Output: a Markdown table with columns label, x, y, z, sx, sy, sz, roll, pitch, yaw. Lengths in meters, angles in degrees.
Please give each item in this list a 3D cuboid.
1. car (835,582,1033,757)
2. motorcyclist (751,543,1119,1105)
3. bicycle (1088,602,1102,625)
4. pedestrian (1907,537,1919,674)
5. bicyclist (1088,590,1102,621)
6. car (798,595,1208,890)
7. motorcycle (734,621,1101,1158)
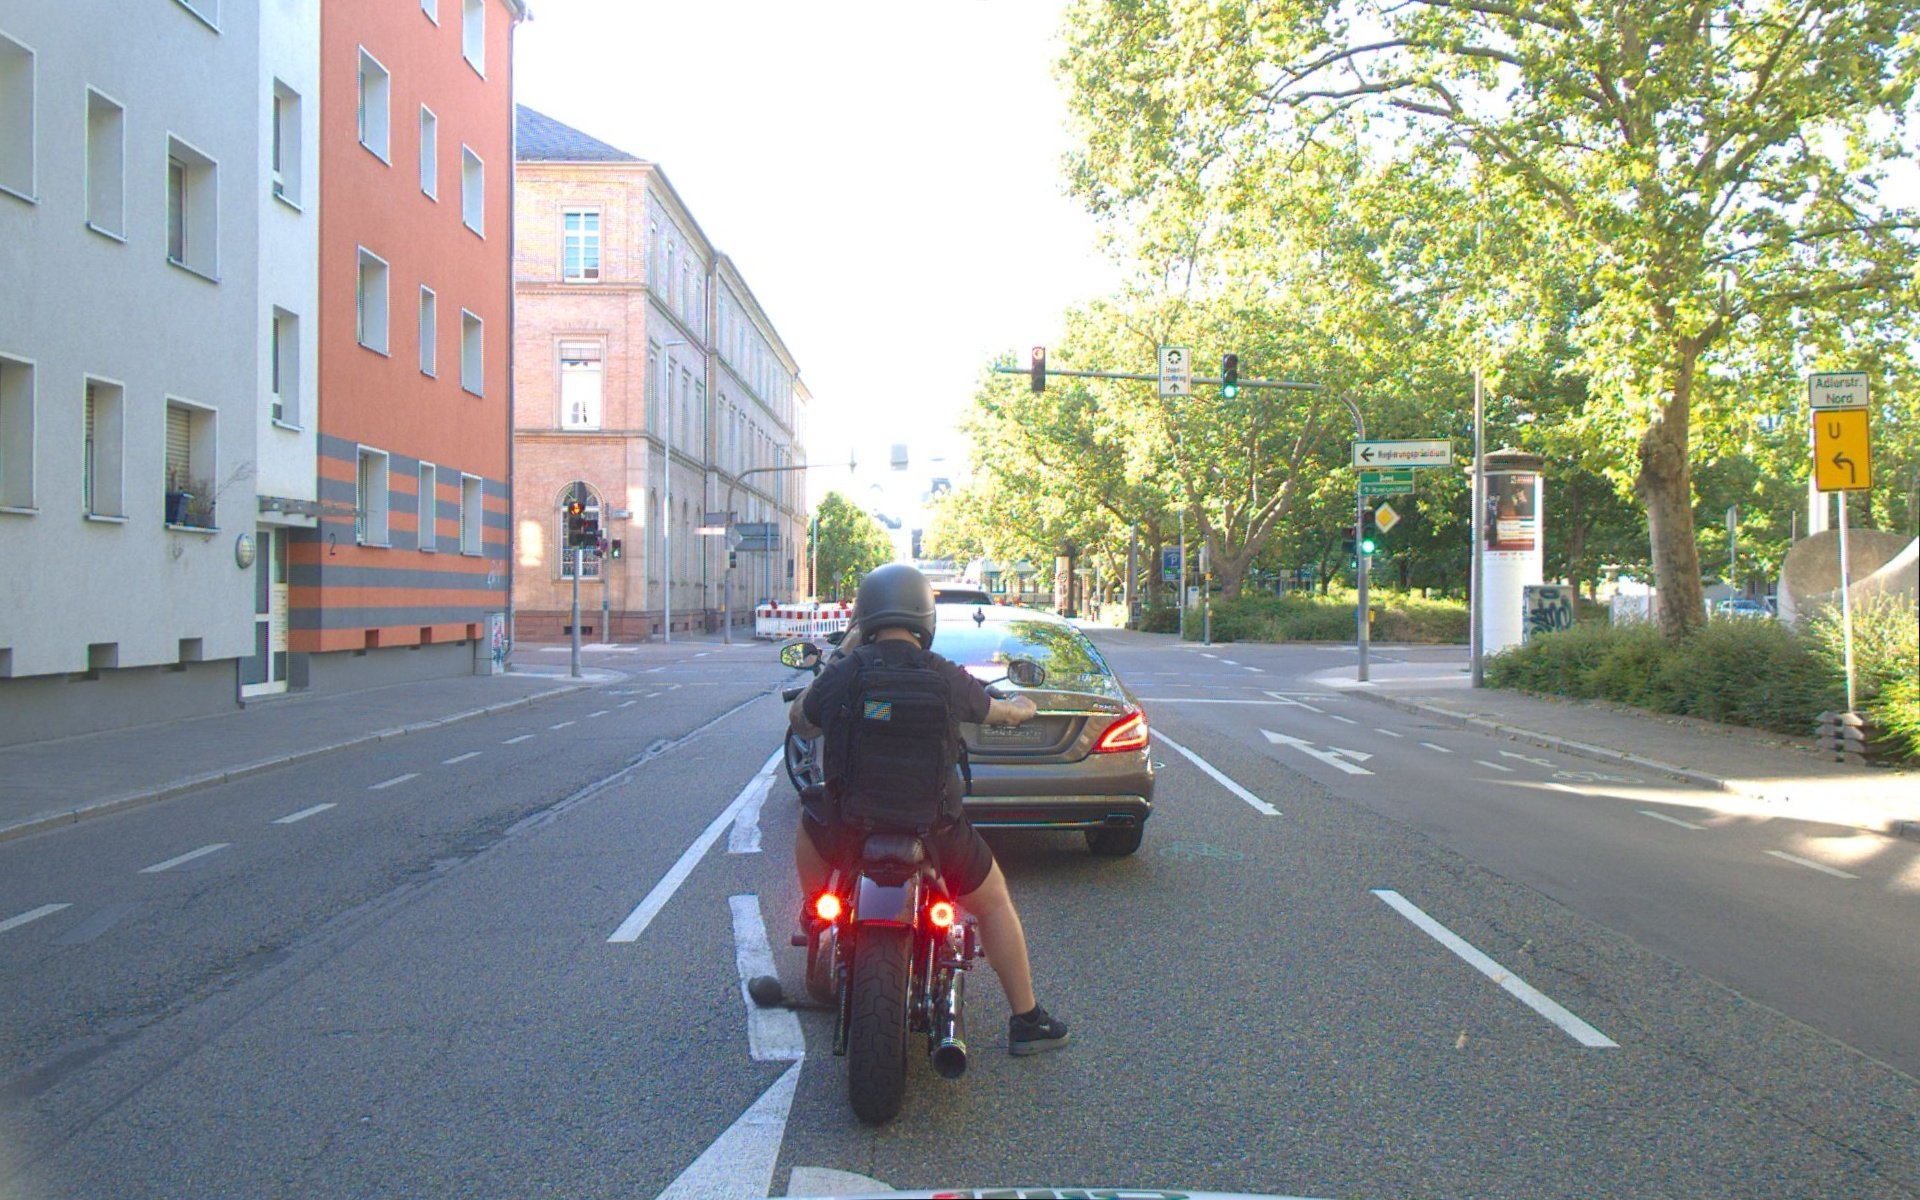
| label | x | y | z | sx | sy | sz | roll | pitch | yaw |
| --- | --- | --- | --- | --- | --- | --- | --- | --- | --- |
| car | -0.341 | 0.611 | 16.741 | 1.777 | 1.563 | 3.846 | 0 | 0 | -3 |
| motorcyclist | -0.076 | 0.651 | 5.242 | 1.039 | 1.610 | 0.908 | 1 | 0 | -1 |
| bicycle | 7.069 | 0.696 | 86.666 | 0.701 | 1.193 | 2.177 | 1 | 0 | 3 |
| pedestrian | 13.112 | 0.077 | 21.795 | 0.768 | 1.812 | 0.862 | 0 | 0 | -3 |
| bicyclist | 7.087 | 0.289 | 86.678 | 0.701 | 1.610 | 0.936 | 1 | 0 | 3 |
| car | 0.030 | 0.706 | 10.541 | 1.867 | 1.466 | 4.279 | 0 | 0 | -9 |
| motorcycle | -0.126 | 0.776 | 5.511 | 0.942 | 1.380 | 2.319 | 1 | 0 | -1 |
